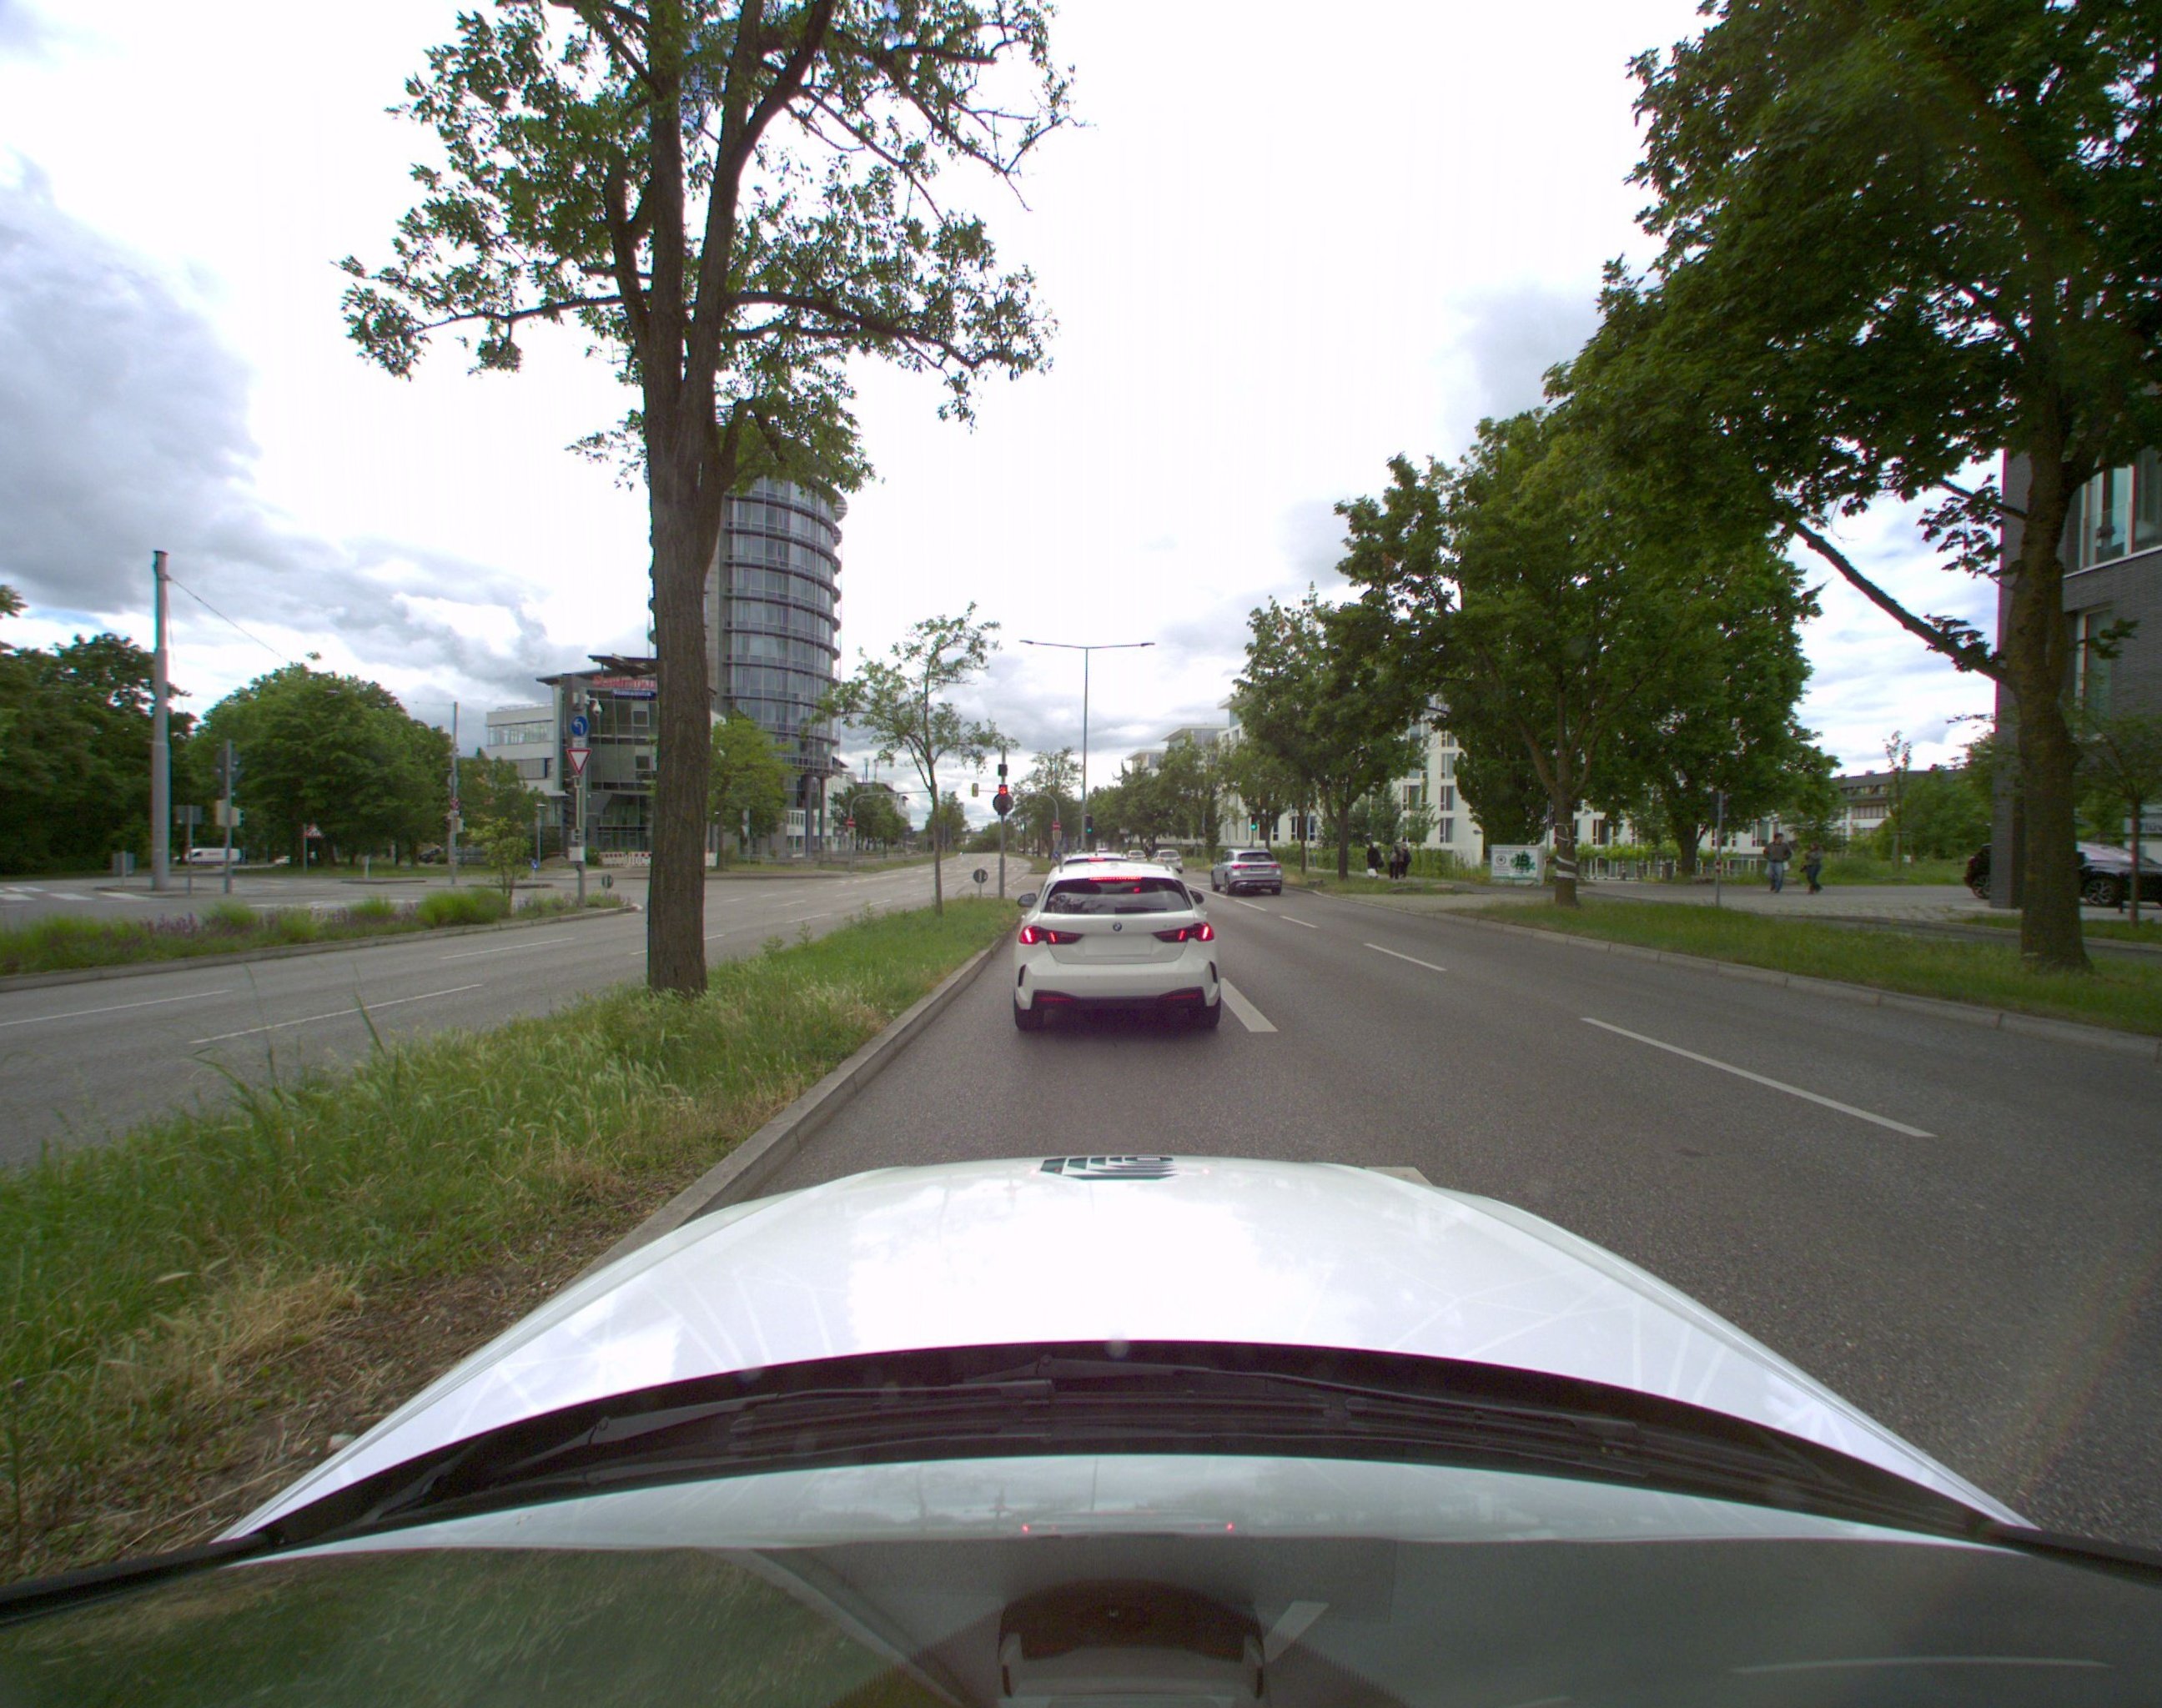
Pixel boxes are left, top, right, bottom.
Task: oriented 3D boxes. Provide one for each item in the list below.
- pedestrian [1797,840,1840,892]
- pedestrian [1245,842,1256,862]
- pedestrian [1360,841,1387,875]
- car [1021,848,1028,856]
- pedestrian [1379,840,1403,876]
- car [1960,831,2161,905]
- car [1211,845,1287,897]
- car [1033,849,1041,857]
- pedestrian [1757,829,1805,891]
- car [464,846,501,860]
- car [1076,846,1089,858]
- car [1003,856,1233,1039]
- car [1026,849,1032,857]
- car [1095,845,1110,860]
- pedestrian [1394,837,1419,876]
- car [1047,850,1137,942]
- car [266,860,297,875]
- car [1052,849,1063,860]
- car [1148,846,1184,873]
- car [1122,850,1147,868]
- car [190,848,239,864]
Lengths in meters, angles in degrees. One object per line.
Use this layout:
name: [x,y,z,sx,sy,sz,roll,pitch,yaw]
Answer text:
pedestrian: [22.402,0.353,24.727,0.880,1.557,0.825,0,0,-38]
pedestrian: [13.544,-0.174,65.063,0.739,1.574,0.674,0,-1,0]
pedestrian: [12.922,0.186,36.002,0.786,1.448,1.112,0,-1,1]
car: [-14.588,-0.443,211.482,1.834,2.014,3.994,0,-1,-4]
pedestrian: [13.718,0.181,36.066,0.697,1.595,0.883,0,-1,1]
car: [24.899,0.301,20.226,1.749,1.646,4.151,0,0,2]
car: [5.954,0.569,29.300,1.986,1.670,4.002,-2,0,2]
car: [-10.945,-0.175,203.458,1.834,2.014,3.994,0,-1,-4]
pedestrian: [21.883,0.178,25.465,0.983,1.868,0.952,0,0,-38]
car: [-37.359,-0.062,50.875,0.766,0.876,1.730,0,0,38]
car: [0.154,-0.256,115.481,1.734,1.666,3.997,0,0,-2]
car: [0.357,0.743,8.449,1.815,1.438,4.002,0,0,2]
car: [-14.687,-0.288,230.606,1.834,2.014,3.994,0,-1,-4]
car: [2.487,-0.192,95.385,1.597,1.666,3.997,0,0,-2]
pedestrian: [14.499,0.122,36.275,0.764,1.685,0.883,0,-1,1]
car: [0.250,0.715,15.976,1.544,1.569,4.002,0,0,2]
car: [-113.791,1.881,115.944,3.952,2.013,1.732,0,0,22]
car: [-3.585,0.107,122.859,1.597,1.666,3.997,0,0,-2]
car: [5.610,0.360,54.175,1.692,1.717,3.994,0,0,-4]
car: [4.606,0.396,70.652,1.689,1.486,3.689,0,0,-3]
car: [-128.876,0.248,121.176,1.978,2.339,4.570,-1,-1,16]
